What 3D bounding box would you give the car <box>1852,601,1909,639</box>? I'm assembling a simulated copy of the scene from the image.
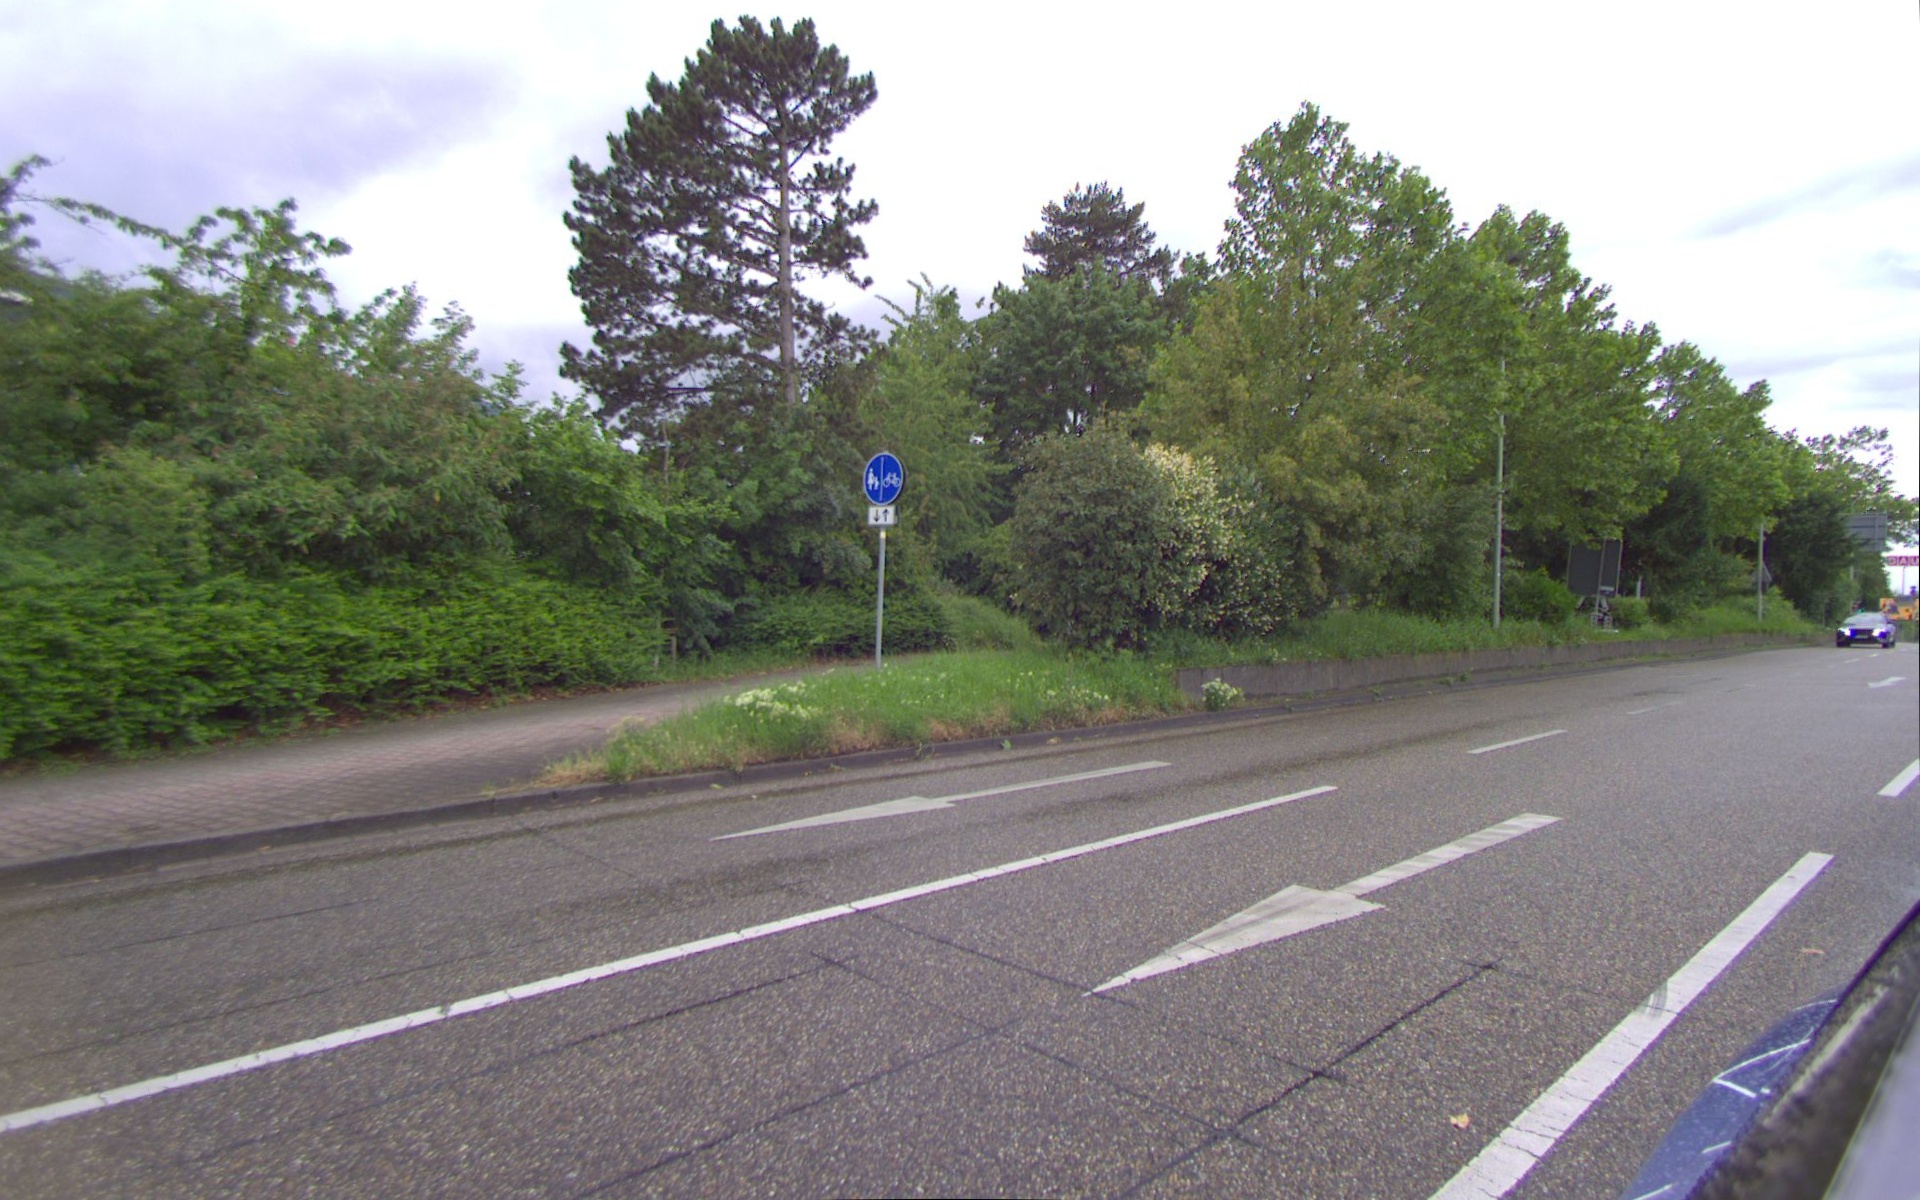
[{"bbox_3d":[42.739,0.906,46.982,3.778,1.642,1.702,-1,0,-44],"label":"car"}]
